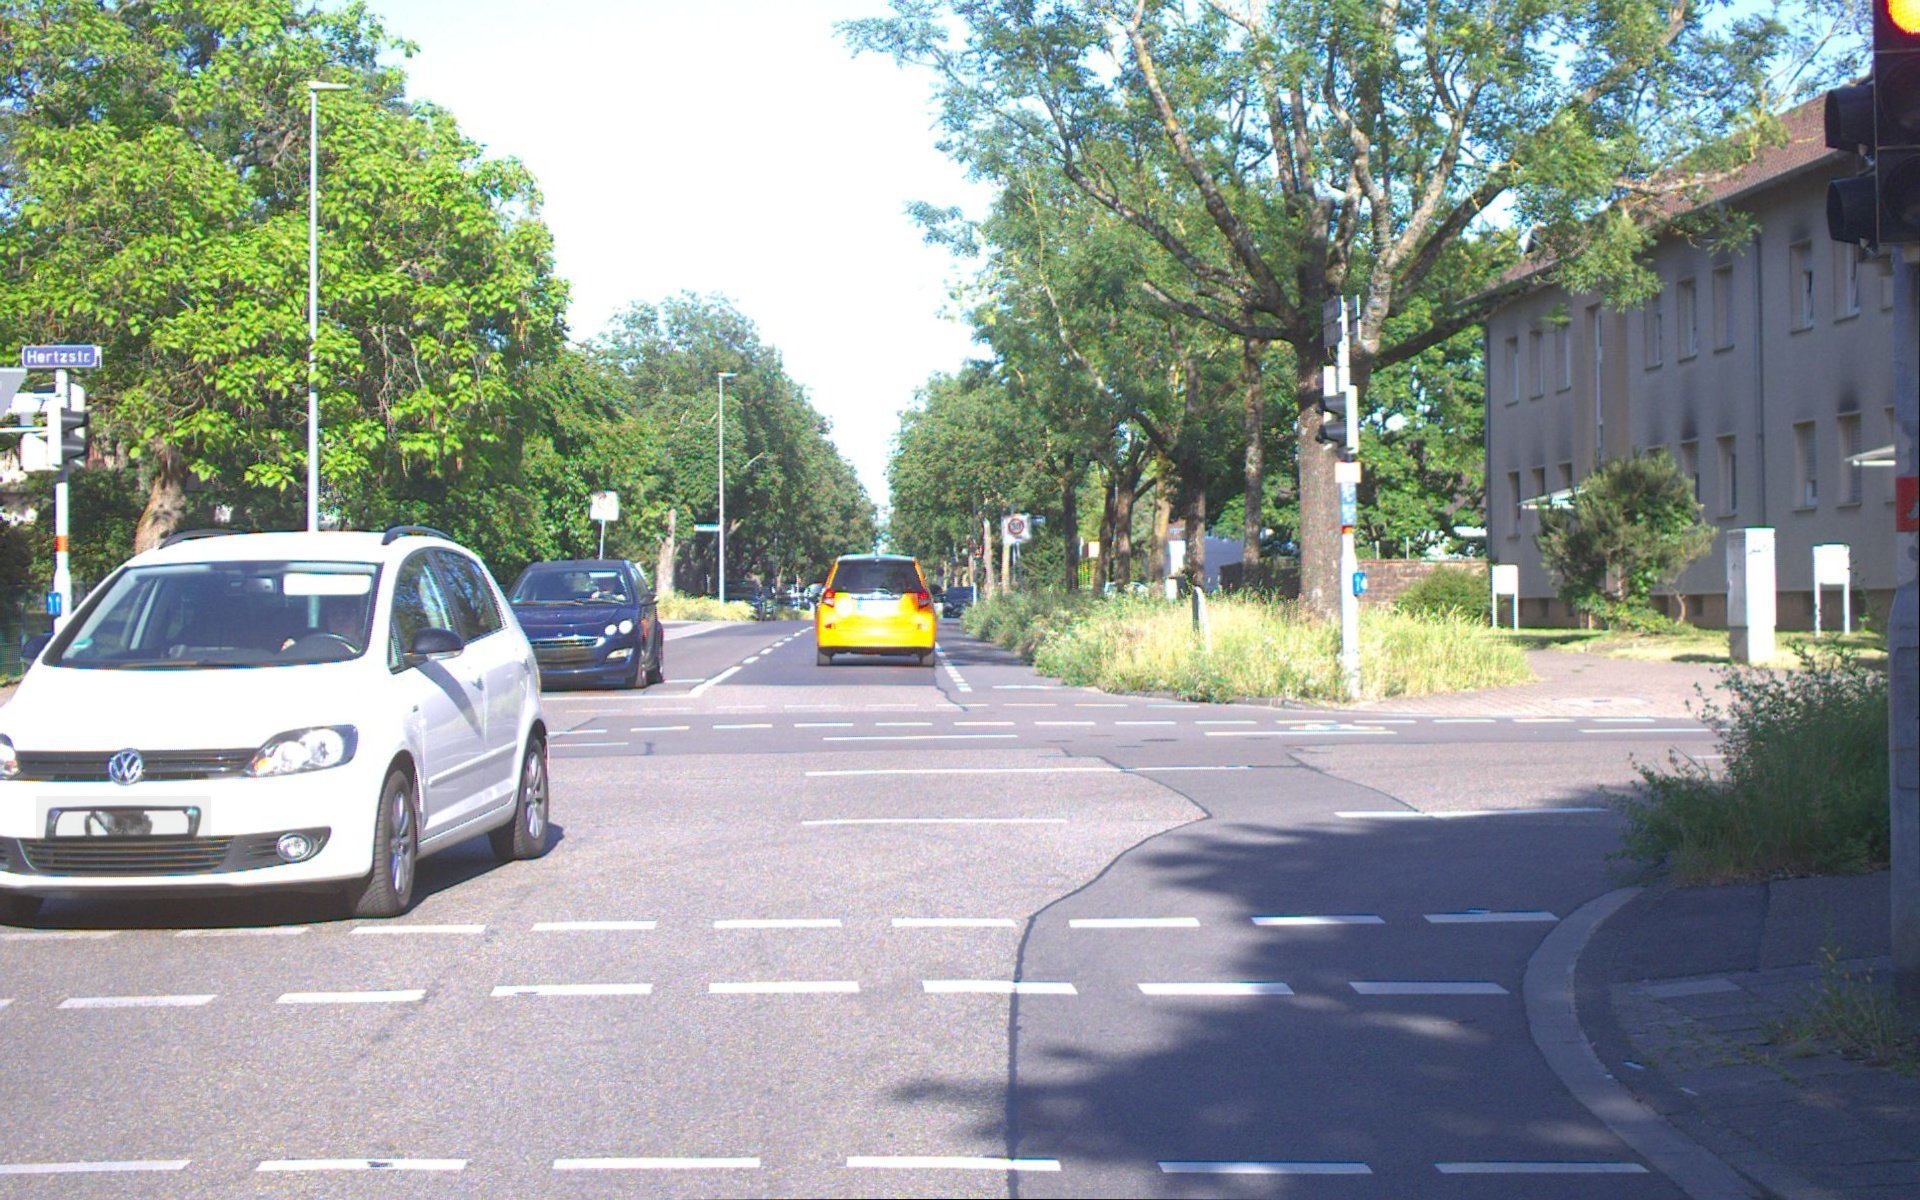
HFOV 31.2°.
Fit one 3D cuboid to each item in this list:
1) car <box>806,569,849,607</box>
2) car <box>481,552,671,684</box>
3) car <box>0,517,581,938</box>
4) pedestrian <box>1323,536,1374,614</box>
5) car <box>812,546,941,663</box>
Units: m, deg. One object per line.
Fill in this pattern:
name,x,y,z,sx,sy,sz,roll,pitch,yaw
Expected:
car,-5.821,-0.541,151.482,1.758,1.619,3.268,0,1,0
car,-4.263,0.172,38.628,1.711,1.381,3.471,0,1,0
car,-2.974,0.441,15.043,1.752,1.558,4.119,-1,2,6
pedestrian,7.565,-0.494,66.978,0.842,1.488,0.924,2,1,-1
car,-1.156,0.043,49.081,1.751,1.577,4.000,1,0,0
